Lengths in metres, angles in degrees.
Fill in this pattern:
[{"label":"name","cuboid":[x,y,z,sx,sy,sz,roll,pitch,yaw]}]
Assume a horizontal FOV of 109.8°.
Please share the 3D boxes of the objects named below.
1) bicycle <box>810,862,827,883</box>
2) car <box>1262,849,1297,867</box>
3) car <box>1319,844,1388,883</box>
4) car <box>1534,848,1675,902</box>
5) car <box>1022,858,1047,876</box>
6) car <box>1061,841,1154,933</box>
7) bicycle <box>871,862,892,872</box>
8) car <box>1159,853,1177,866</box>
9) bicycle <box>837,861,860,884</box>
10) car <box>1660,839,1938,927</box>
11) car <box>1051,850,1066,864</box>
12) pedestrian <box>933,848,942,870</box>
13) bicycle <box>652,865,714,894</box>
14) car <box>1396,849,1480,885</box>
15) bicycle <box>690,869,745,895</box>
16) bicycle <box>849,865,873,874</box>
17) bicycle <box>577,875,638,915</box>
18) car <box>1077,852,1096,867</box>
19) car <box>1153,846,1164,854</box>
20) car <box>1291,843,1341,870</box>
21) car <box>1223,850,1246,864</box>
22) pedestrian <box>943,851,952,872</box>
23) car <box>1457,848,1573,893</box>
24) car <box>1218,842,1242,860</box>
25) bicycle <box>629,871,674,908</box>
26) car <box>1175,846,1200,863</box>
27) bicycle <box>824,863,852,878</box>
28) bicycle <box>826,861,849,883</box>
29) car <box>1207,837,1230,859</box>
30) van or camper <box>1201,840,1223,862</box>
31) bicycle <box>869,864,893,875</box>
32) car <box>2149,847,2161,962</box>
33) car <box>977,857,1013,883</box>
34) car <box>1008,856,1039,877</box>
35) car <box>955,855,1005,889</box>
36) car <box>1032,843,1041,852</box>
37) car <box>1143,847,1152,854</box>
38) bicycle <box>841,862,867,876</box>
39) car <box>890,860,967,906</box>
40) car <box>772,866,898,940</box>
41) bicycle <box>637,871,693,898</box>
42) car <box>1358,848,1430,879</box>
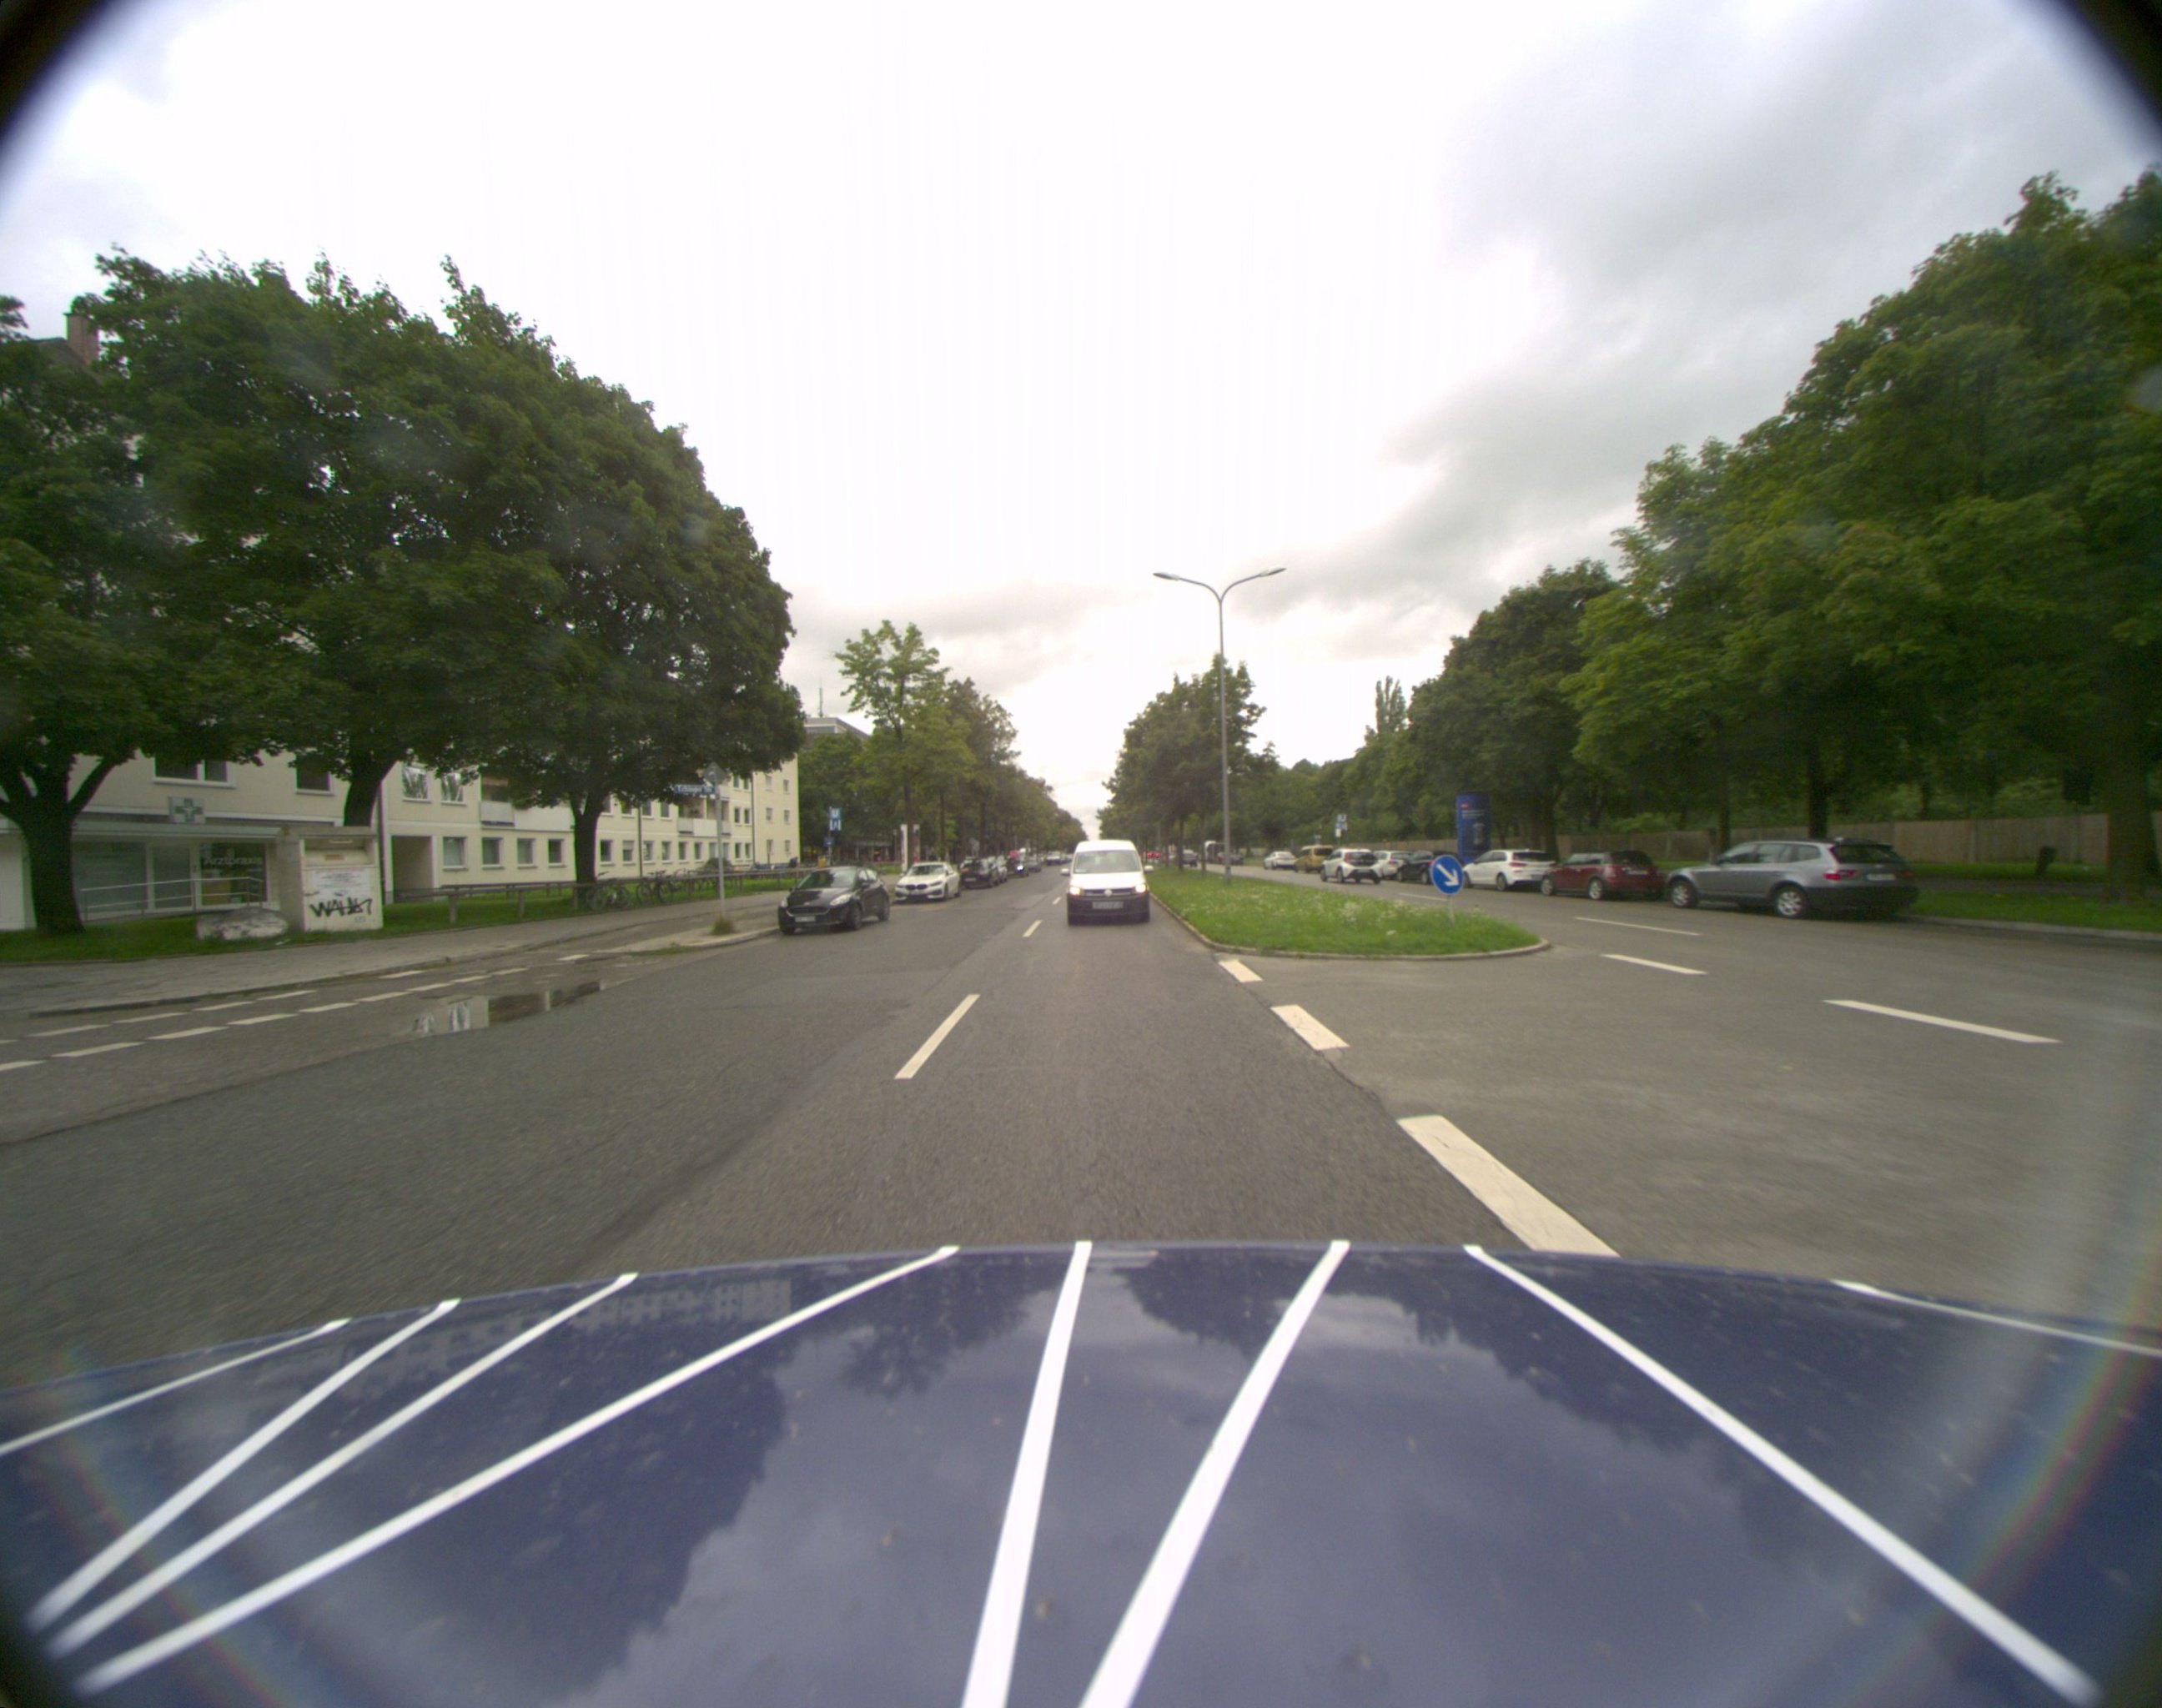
[{"label":"bicycle","cuboid":[-14.812,1.040,42.848,0.466,1.110,1.253,-2,1,2]},{"label":"car","cuboid":[15.976,0.299,61.422,1.717,1.434,4.041,0,1,-1]},{"label":"car","cuboid":[11.957,0.383,33.536,1.826,1.544,3.721,-2,0,3]},{"label":"car","cuboid":[15.113,0.558,22.206,1.653,1.414,3.687,1,0,2]},{"label":"car","cuboid":[-4.210,1.155,68.873,1.826,1.460,4.300,-2,0,2]},{"label":"car","cuboid":[0.583,0.647,17.543,1.772,1.742,4.546,-4,0,1]},{"label":"bicycle","cuboid":[-14.683,0.959,55.978,1.392,0.709,0.498,0,1,-3]},{"label":"car","cuboid":[10.090,0.638,88.000,1.722,1.374,3.767,1,0,2]},{"label":"bicycle","cuboid":[-12.717,0.972,41.589,0.545,1.182,2.076,-2,1,2]},{"label":"car","cuboid":[15.051,0.531,16.362,1.826,1.621,4.456,-1,0,1]},{"label":"car","cuboid":[-3.147,0.414,106.913,1.826,1.939,4.300,-2,1,2]},{"label":"pedestrian","cuboid":[-11.088,0.389,58.861,0.560,1.745,0.656,-2,1,-18]},{"label":"bicycle","cuboid":[-15.835,1.009,30.257,2.032,1.061,0.663,-2,1,-3]},{"label":"car","cuboid":[15.355,0.526,32.902,1.826,1.438,3.787,1,0,-1]},{"label":"bicycle","cuboid":[-15.935,1.232,33.363,2.032,1.061,0.663,-2,1,-3]},{"label":"bicycle","cuboid":[-15.757,1.125,54.496,1.599,0.634,0.498,1,1,-3]},{"label":"bicycle","cuboid":[-13.417,1.133,21.583,0.448,1.009,1.853,-2,1,3]},{"label":"car","cuboid":[0.653,0.552,85.361,1.984,1.591,4.402,1,1,2]},{"label":"car","cuboid":[16.086,-0.763,158.393,1.865,1.659,4.500,1,1,1]},{"label":"car","cuboid":[15.692,0.132,50.945,1.862,1.761,4.533,0,1,-1]},{"label":"car","cuboid":[16.641,0.309,82.539,1.717,1.401,4.041,0,0,-1]},{"label":"pedestrian","cuboid":[-10.357,0.573,58.987,0.560,1.595,0.520,-2,1,-18]},{"label":"car","cuboid":[15.350,0.535,27.184,1.826,1.468,4.260,1,0,2]},{"label":"car","cuboid":[17.074,-0.317,87.302,1.998,2.002,4.000,-2,1,1]},{"label":"bicycle","cuboid":[-13.498,1.103,23.920,0.470,1.049,1.767,1,1,-3]},{"label":"car","cuboid":[10.221,0.039,73.050,1.826,1.580,4.502,-2,0,2]},{"label":"bicycle","cuboid":[-15.573,1.065,48.661,1.599,0.910,0.498,-2,1,-3]},{"label":"bicycle","cuboid":[-13.600,0.998,42.471,0.545,1.182,2.076,-2,1,2]},{"label":"car","cuboid":[17.130,-0.758,94.920,1.999,2.576,4.499,0,1,-1]},{"label":"van or camper","cuboid":[17.143,-0.398,99.907,1.999,2.791,4.931,0,1,-1]},{"label":"bicycle","cuboid":[-14.561,1.136,55.279,1.599,0.691,0.498,-3,1,-3]},{"label":"car","cuboid":[14.744,0.661,7.929,1.644,1.490,4.000,0,0,3]},{"label":"car","cuboid":[-5.047,0.939,45.174,1.617,1.371,3.926,-2,0,0]},{"label":"car","cuboid":[-4.128,0.860,54.842,1.827,1.371,4.300,-2,0,0]},{"label":"car","cuboid":[-5.099,0.873,38.786,1.826,1.502,4.157,-2,0,1]},{"label":"car","cuboid":[-12.032,-1.777,206.025,1.998,2.440,4.999,-2,1,0]},{"label":"car","cuboid":[15.839,-0.829,181.606,1.865,1.448,4.500,1,1,1]},{"label":"bicycle","cuboid":[-15.300,0.992,51.286,1.599,0.910,0.498,0,1,-3]},{"label":"car","cuboid":[-5.607,1.022,28.559,1.826,1.428,4.287,-4,0,2]},{"label":"car","cuboid":[-5.719,1.077,18.157,1.648,1.468,3.956,-2,0,0]},{"label":"bicycle","cuboid":[-18.266,1.334,33.353,2.032,1.061,0.663,-2,1,-3]},{"label":"car","cuboid":[15.614,0.411,38.136,1.826,1.461,4.300,0,0,-1]}]
